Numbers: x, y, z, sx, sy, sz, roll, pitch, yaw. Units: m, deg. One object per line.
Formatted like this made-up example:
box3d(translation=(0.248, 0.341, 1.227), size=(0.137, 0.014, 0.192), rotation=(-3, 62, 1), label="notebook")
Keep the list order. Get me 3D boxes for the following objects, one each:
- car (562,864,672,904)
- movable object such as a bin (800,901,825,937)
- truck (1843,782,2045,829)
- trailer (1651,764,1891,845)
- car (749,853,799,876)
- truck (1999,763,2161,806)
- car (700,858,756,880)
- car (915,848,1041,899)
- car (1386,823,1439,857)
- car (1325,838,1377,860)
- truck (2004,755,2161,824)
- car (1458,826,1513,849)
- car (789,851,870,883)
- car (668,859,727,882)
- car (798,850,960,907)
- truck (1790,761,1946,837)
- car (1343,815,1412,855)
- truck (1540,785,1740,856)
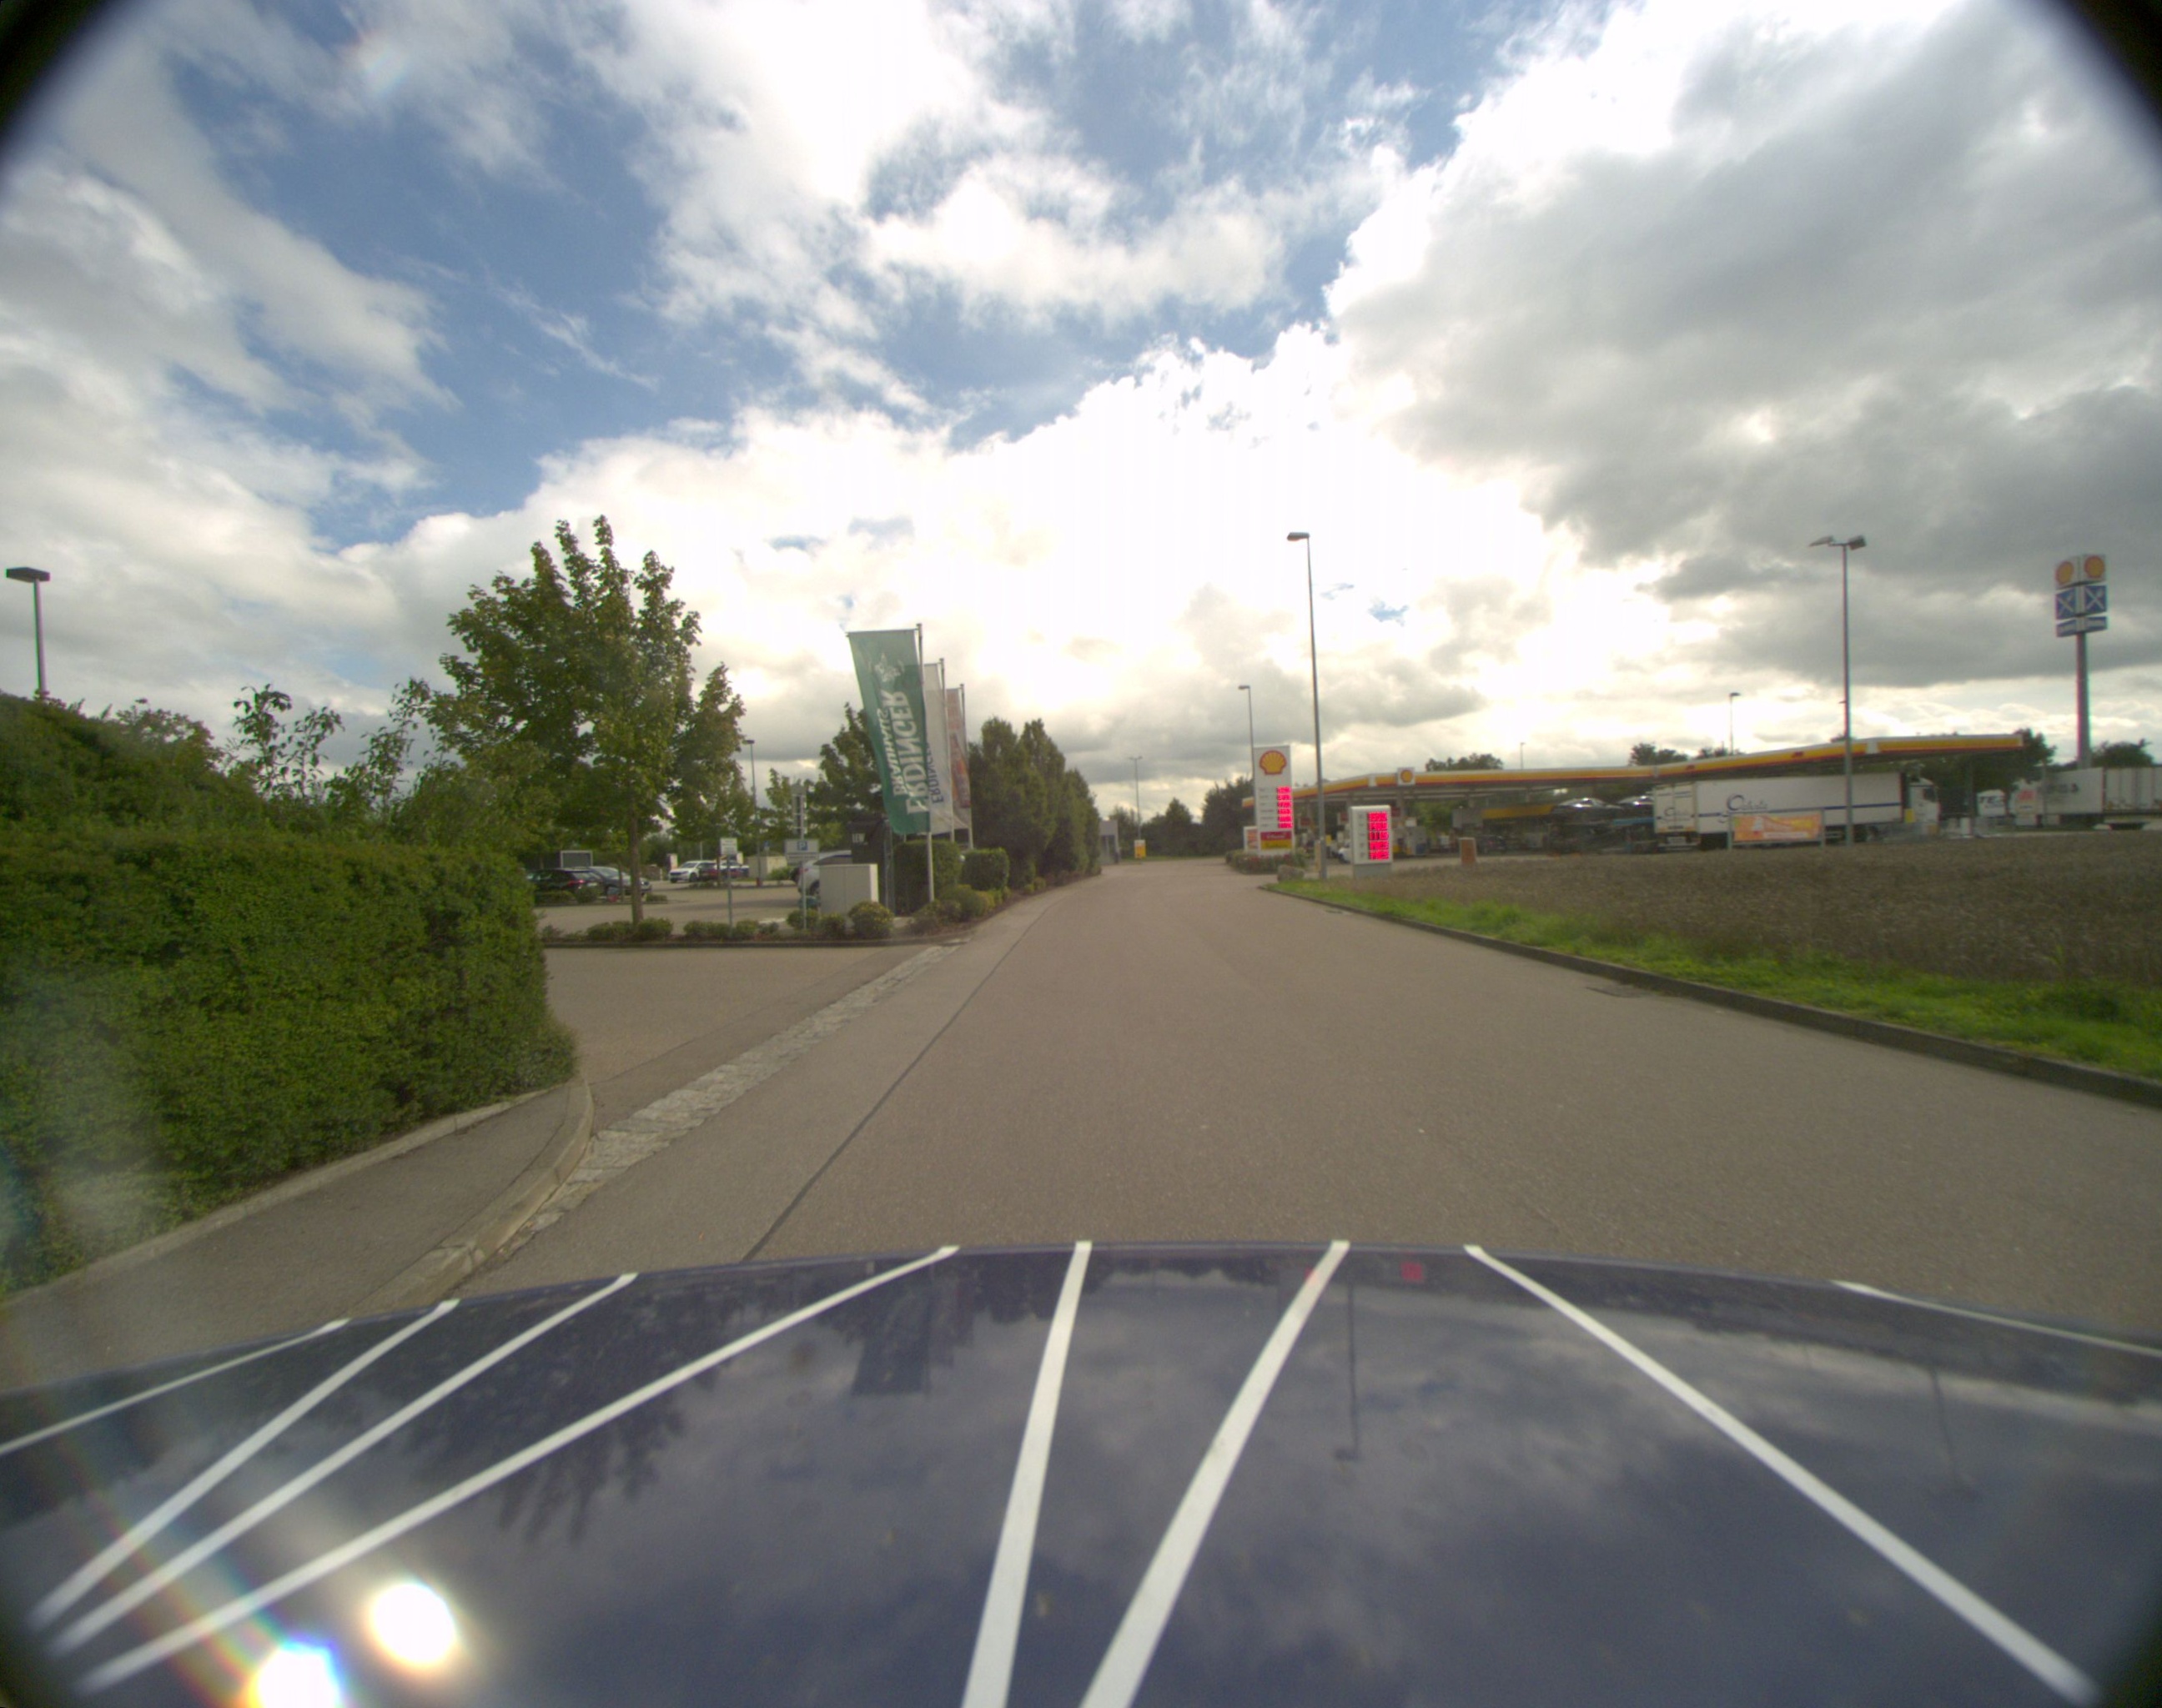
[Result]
box3d(translation=(-20.756, 1.332, 34.026), size=(3.992, 1.562, 2.002), rotation=(-3, 0, 18), label="car")
box3d(translation=(-5.330, 1.287, 15.071), size=(0.288, 0.680, 0.368), rotation=(-3, 1, 13), label="movable object such as a bin")
box3d(translation=(85.455, -4.697, 75.821), size=(12.977, 3.871, 2.829), rotation=(-2, 2, 37), label="truck")
box3d(translation=(39.761, -2.865, 43.844), size=(12.847, 4.001, 2.710), rotation=(-3, 1, -9), label="trailer")
box3d(translation=(-24.098, 0.835, 59.842), size=(1.720, 1.605, 4.002), rotation=(-3, 1, 10), label="car")
box3d(translation=(110.178, -7.525, 82.701), size=(12.774, 3.871, 2.829), rotation=(-2, 2, 35), label="truck")
box3d(translation=(-27.629, 1.165, 59.638), size=(1.603, 1.510, 4.005), rotation=(-3, 1, 18), label="car")
box3d(translation=(-3.853, 0.725, 28.814), size=(4.357, 1.706, 1.658), rotation=(-3, 1, 9), label="car")
box3d(translation=(21.329, -0.919, 48.854), size=(1.791, 2.000, 3.888), rotation=(-2, 0, 45), label="car")
box3d(translation=(21.566, -0.411, 60.653), size=(3.967, 1.550, 1.995), rotation=(-3, 0, -36), label="car")
box3d(translation=(69.390, -4.332, 52.874), size=(2.955, 4.089, 14.774), rotation=(-1, 2, 36), label="truck")
box3d(translation=(31.282, -1.236, 58.881), size=(1.717, 1.592, 3.757), rotation=(-3, 0, -13), label="car")
box3d(translation=(-15.462, 0.781, 46.752), size=(4.357, 1.706, 1.658), rotation=(-3, 1, 9), label="car")
box3d(translation=(-30.095, 1.283, 59.784), size=(1.713, 1.510, 4.005), rotation=(-3, 1, 18), label="car")
box3d(translation=(-6.491, 0.778, 24.599), size=(4.672, 1.687, 1.920), rotation=(-1, 2, 12), label="car")
box3d(translation=(46.471, -3.207, 44.957), size=(7.169, 4.001, 2.710), rotation=(-3, 1, -9), label="truck")
box3d(translation=(22.289, -1.436, 57.005), size=(5.819, 2.770, 2.219), rotation=(-3, 1, -41), label="car")
box3d(translation=(35.507, -2.153, 48.166), size=(13.266, 3.902, 2.748), rotation=(-3, 2, -17), label="truck")
